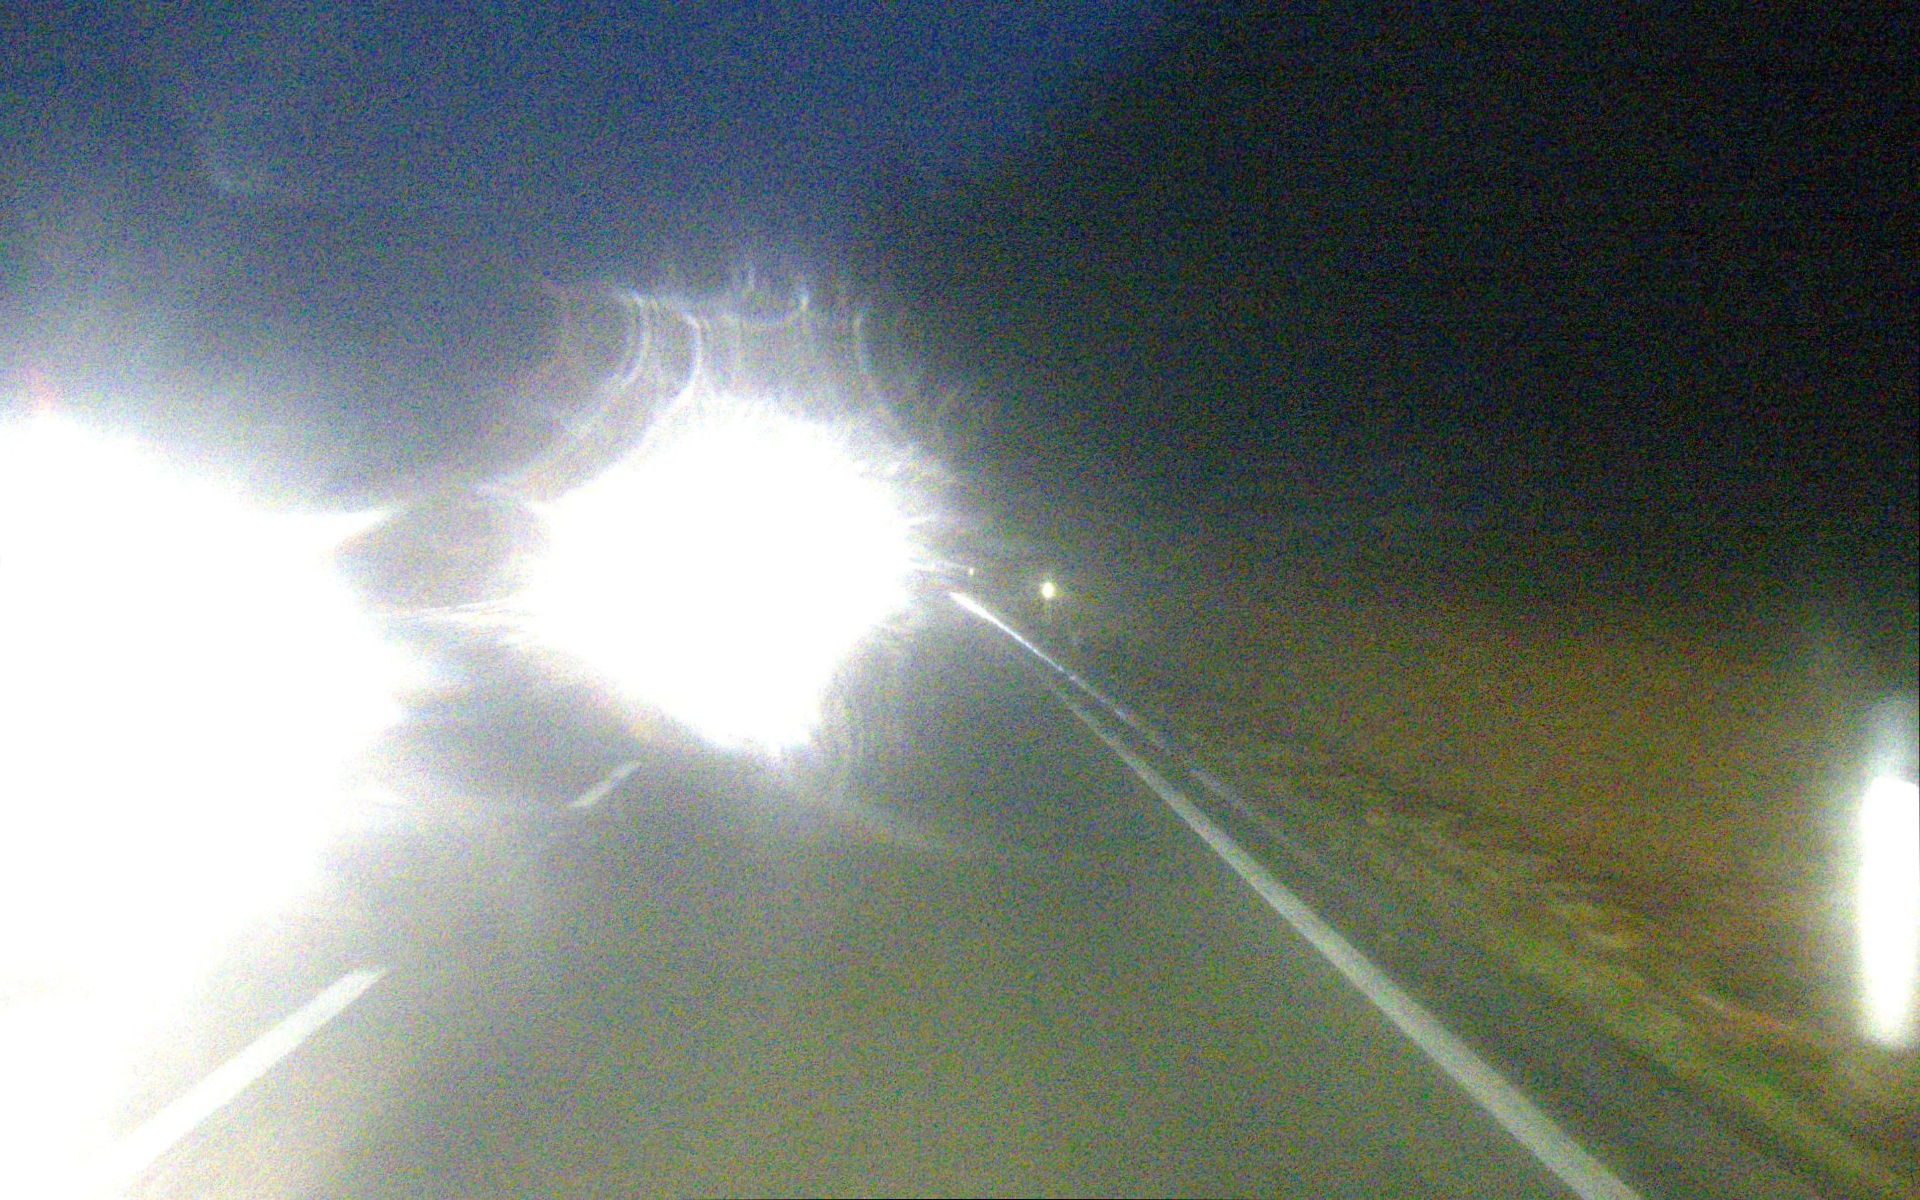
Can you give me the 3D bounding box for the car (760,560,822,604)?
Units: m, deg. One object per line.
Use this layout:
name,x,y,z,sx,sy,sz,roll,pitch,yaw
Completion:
car,-5.893,-0.638,120.286,1.993,1.443,4.430,1,1,-1

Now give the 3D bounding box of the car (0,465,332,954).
car,-4.067,0.365,14.723,1.993,1.786,4.246,1,1,-1
